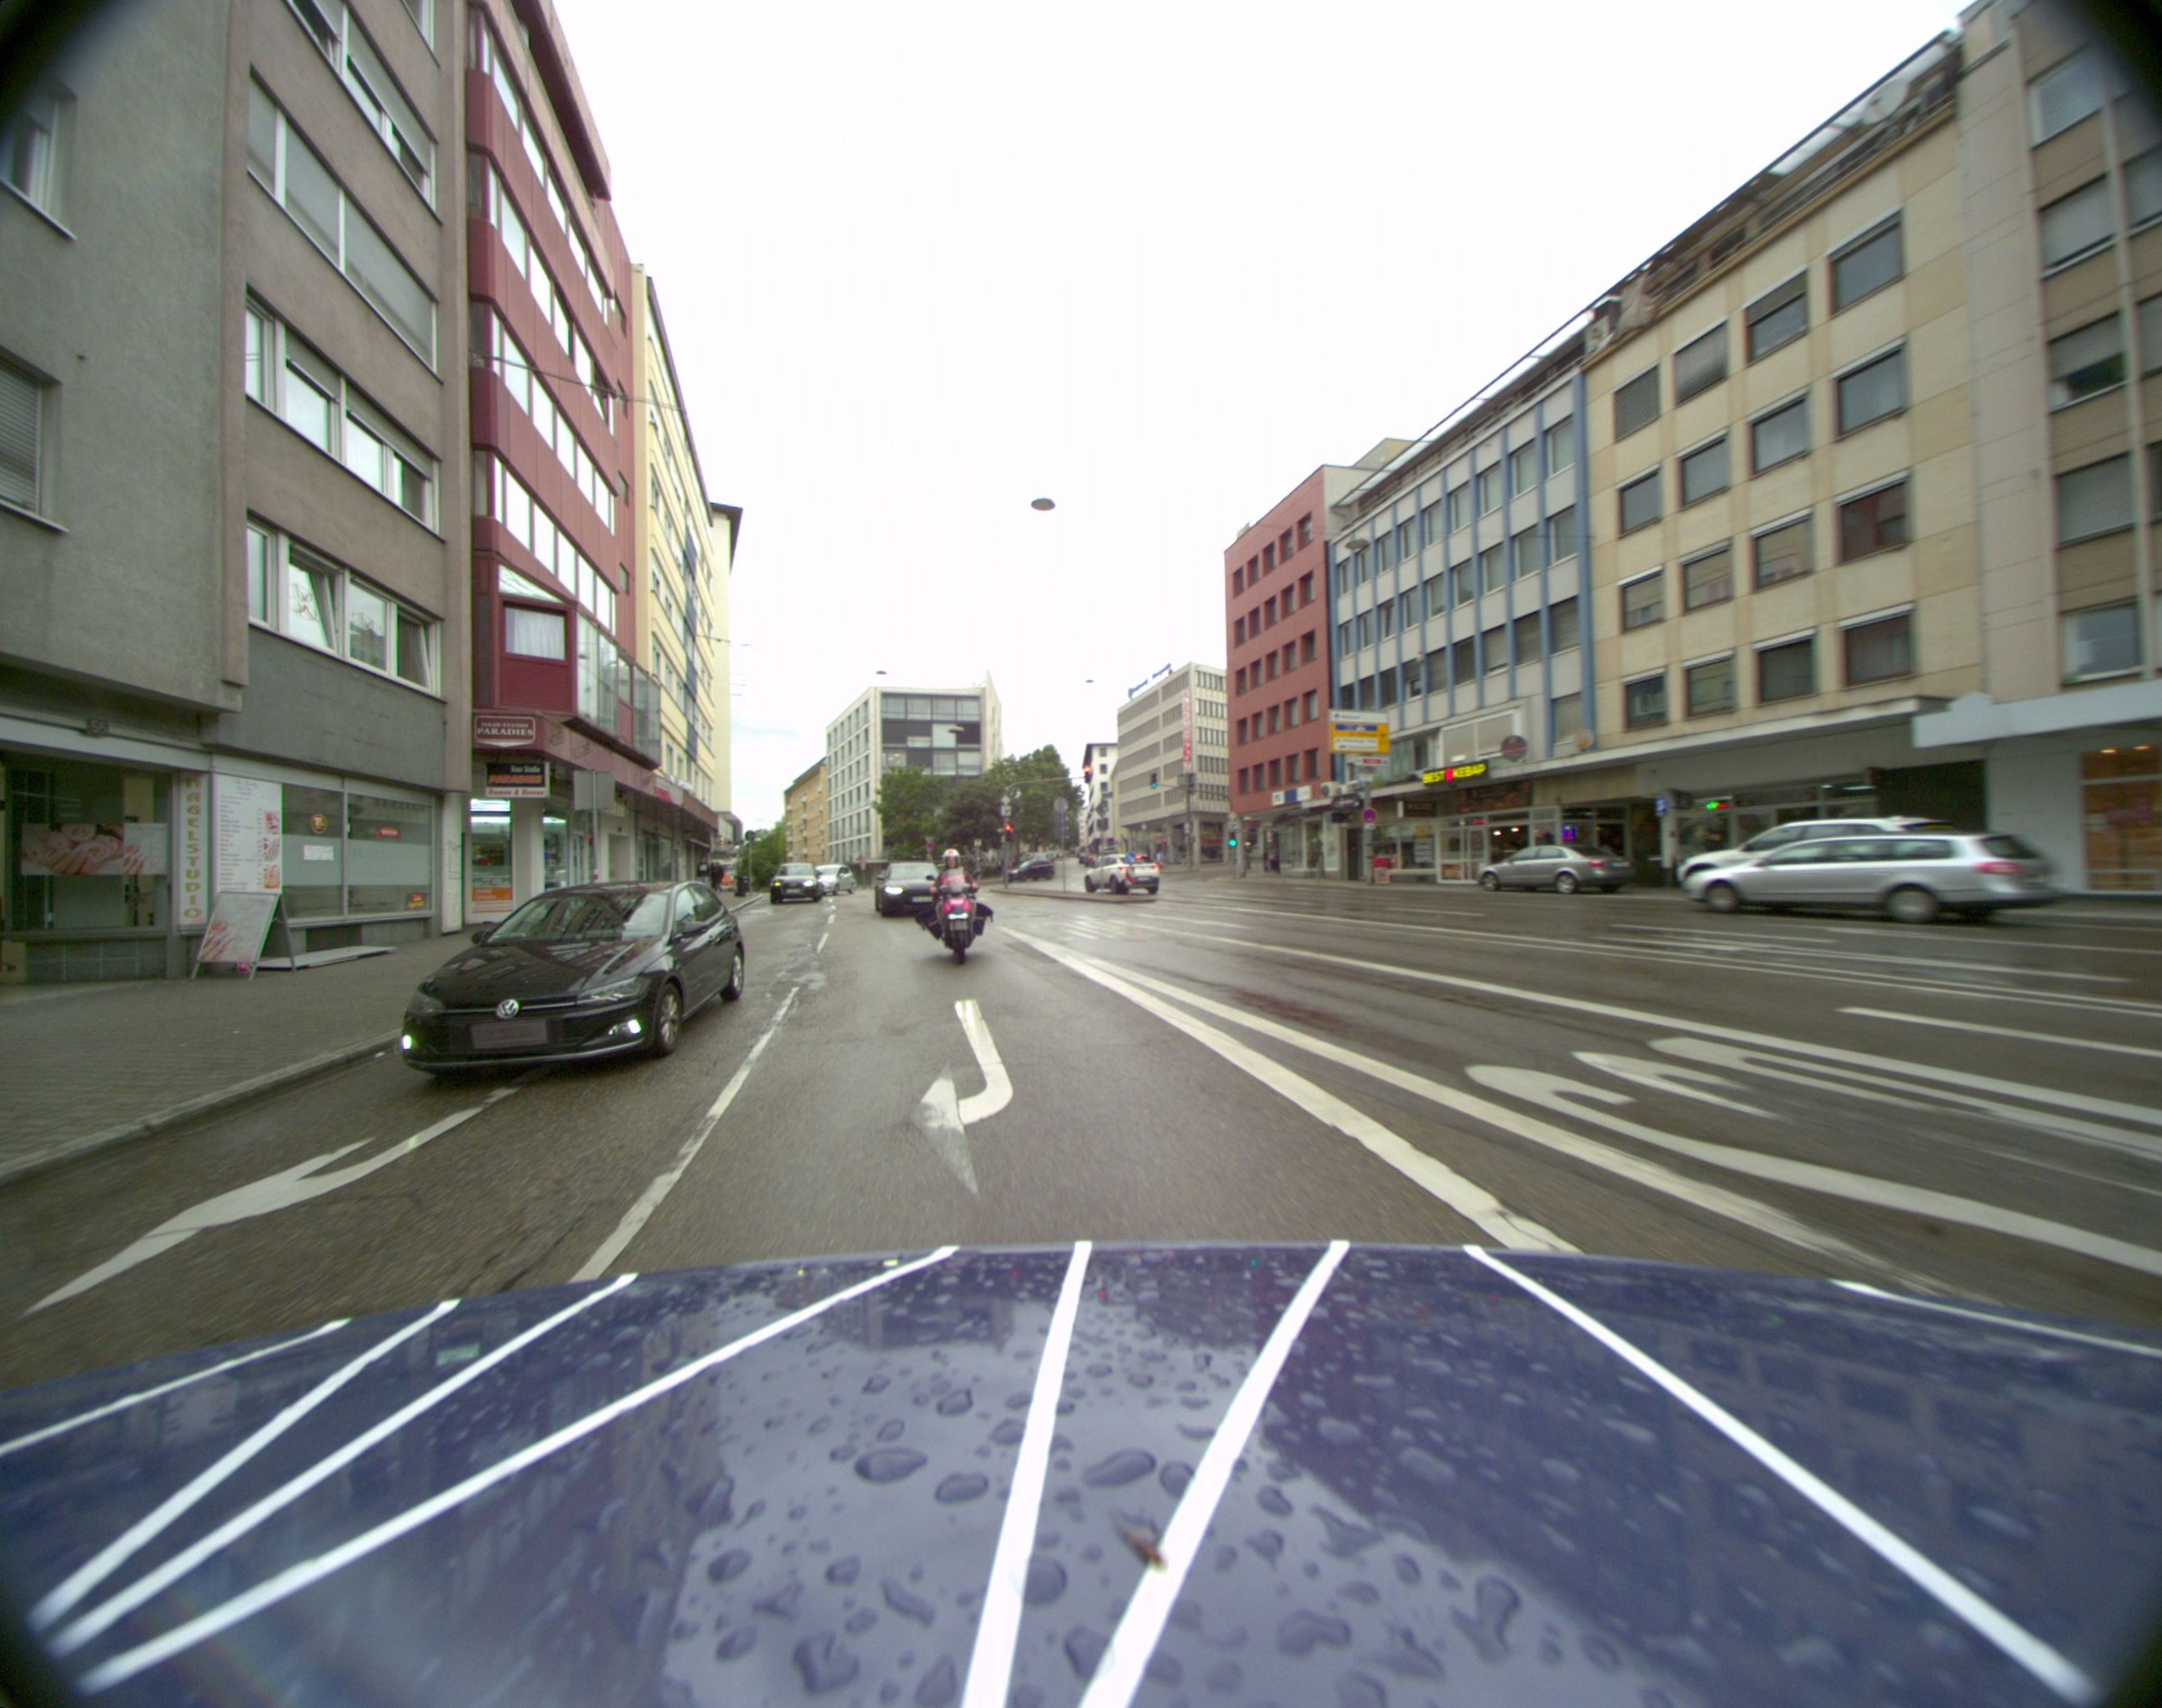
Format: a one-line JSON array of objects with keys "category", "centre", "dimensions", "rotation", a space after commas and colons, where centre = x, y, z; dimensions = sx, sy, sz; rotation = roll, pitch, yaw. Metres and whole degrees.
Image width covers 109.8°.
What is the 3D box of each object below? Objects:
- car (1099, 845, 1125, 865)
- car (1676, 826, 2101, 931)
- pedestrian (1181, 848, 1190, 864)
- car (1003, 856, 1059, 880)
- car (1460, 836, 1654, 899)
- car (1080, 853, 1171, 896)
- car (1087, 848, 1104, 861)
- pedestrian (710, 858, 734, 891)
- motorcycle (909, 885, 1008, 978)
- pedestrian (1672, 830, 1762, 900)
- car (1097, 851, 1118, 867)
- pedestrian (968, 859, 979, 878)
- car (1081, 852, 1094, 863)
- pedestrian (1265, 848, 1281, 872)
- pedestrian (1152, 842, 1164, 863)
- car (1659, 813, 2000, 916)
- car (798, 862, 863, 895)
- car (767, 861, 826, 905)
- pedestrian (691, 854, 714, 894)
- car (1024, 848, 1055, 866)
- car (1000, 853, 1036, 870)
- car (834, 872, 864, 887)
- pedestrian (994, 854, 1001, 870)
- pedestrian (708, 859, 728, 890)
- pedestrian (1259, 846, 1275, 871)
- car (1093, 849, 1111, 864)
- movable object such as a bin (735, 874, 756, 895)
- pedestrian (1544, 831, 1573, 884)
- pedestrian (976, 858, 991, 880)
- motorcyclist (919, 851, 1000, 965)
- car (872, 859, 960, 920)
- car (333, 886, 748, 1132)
[{"category": "car", "centre": [3.510, 0.137, 86.516], "dimensions": [2.097, 2.078, 4.612], "rotation": [-3, 0, -8]}, {"category": "car", "centre": [13.606, 0.370, 13.292], "dimensions": [1.793, 1.437, 4.746], "rotation": [-3, 0, -21]}, {"category": "pedestrian", "centre": [10.504, 0.174, 76.338], "dimensions": [0.714, 1.613, 0.724], "rotation": [-2, 1, 2]}, {"category": "car", "centre": [-3.839, 1.061, 58.956], "dimensions": [1.995, 1.673, 4.007], "rotation": [-2, 1, 44]}, {"category": "car", "centre": [13.890, 0.376, 22.604], "dimensions": [1.872, 1.599, 4.874], "rotation": [-3, 0, -15]}, {"category": "car", "centre": [1.737, 0.839, 31.251], "dimensions": [2.002, 1.542, 4.422], "rotation": [-3, -1, -21]}, {"category": "car", "centre": [1.905, 0.067, 102.027], "dimensions": [1.933, 1.662, 4.445], "rotation": [-4, -1, -3]}, {"category": "pedestrian", "centre": [-19.092, 1.087, 40.411], "dimensions": [0.753, 1.712, 0.754], "rotation": [-4, 0, 4]}, {"category": "motorcycle", "centre": [-1.888, 1.116, 11.657], "dimensions": [1.314, 1.129, 2.183], "rotation": [-2, 1, -10]}, {"category": "pedestrian", "centre": [16.414, 0.288, 19.648], "dimensions": [0.955, 1.708, 1.417], "rotation": [-3, 0, -18]}, {"category": "car", "centre": [2.779, 0.540, 80.811], "dimensions": [2.001, 1.621, 4.614], "rotation": [-4, -1, 0]}, {"category": "pedestrian", "centre": [-10.562, 1.412, 74.657], "dimensions": [0.789, 1.803, 0.592], "rotation": [-4, -1, -25]}, {"category": "car", "centre": [1.091, 0.602, 128.995], "dimensions": [2.026, 1.830, 4.045], "rotation": [-4, 0, -1]}, {"category": "pedestrian", "centre": [13.648, 0.414, 54.013], "dimensions": [0.734, 1.620, 0.693], "rotation": [-3, 0, -43]}, {"category": "pedestrian", "centre": [7.523, -0.130, 74.448], "dimensions": [0.994, 2.002, 0.947], "rotation": [-2, 1, -1]}, {"category": "car", "centre": [15.676, 0.200, 16.405], "dimensions": [1.856, 1.816, 4.957], "rotation": [-3, 0, -15]}, {"category": "car", "centre": [-12.936, 1.231, 39.445], "dimensions": [1.999, 1.574, 4.103], "rotation": [-2, 0, -1]}, {"category": "car", "centre": [-11.413, 1.123, 30.746], "dimensions": [1.874, 1.538, 4.098], "rotation": [-3, 0, -17]}, {"category": "pedestrian", "centre": [-16.887, 0.923, 33.919], "dimensions": [0.839, 1.753, 0.616], "rotation": [2, -3, -24]}, {"category": "car", "centre": [-5.841, 0.380, 107.062], "dimensions": [3.830, 2.252, 1.986], "rotation": [-3, 1, 11]}, {"category": "car", "centre": [-6.739, 0.800, 81.618], "dimensions": [3.543, 1.550, 1.740], "rotation": [-4, 1, 3]}, {"category": "car", "centre": [-21.541, 2.396, 70.435], "dimensions": [1.978, 1.379, 3.992], "rotation": [1, -2, -28]}, {"category": "pedestrian", "centre": [-9.849, 0.972, 89.770], "dimensions": [0.592, 1.803, 0.704], "rotation": [-4, -1, 0]}, {"category": "pedestrian", "centre": [-20.684, 1.169, 43.283], "dimensions": [0.617, 1.752, 0.789], "rotation": [-4, 0, 4]}, {"category": "pedestrian", "centre": [13.557, 0.305, 55.416], "dimensions": [0.731, 1.737, 0.744], "rotation": [-4, 0, 45]}, {"category": "car", "centre": [2.578, 0.339, 95.305], "dimensions": [2.026, 1.739, 4.614], "rotation": [-4, -1, -1]}, {"category": "movable object such as a bin", "centre": [-15.409, 1.386, 34.896], "dimensions": [0.531, 0.928, 0.674], "rotation": [2, -2, 19]}, {"category": "pedestrian", "centre": [15.661, 0.115, 24.930], "dimensions": [0.447, 1.698, 0.583], "rotation": [-4, 0, -15]}, {"category": "pedestrian", "centre": [-8.190, 1.250, 63.930], "dimensions": [0.784, 1.739, 0.787], "rotation": [-8, 1, -25]}, {"category": "motorcyclist", "centre": [-1.870, 0.787, 11.571], "dimensions": [1.093, 1.595, 0.952], "rotation": [-3, 0, -12]}, {"category": "car", "centre": [-4.863, 0.940, 21.883], "dimensions": [2.001, 1.482, 4.728], "rotation": [-2, 0, -17]}, {"category": "car", "centre": [-4.486, 1.114, 7.113], "dimensions": [1.744, 1.422, 3.876], "rotation": [-1, 0, -12]}]
